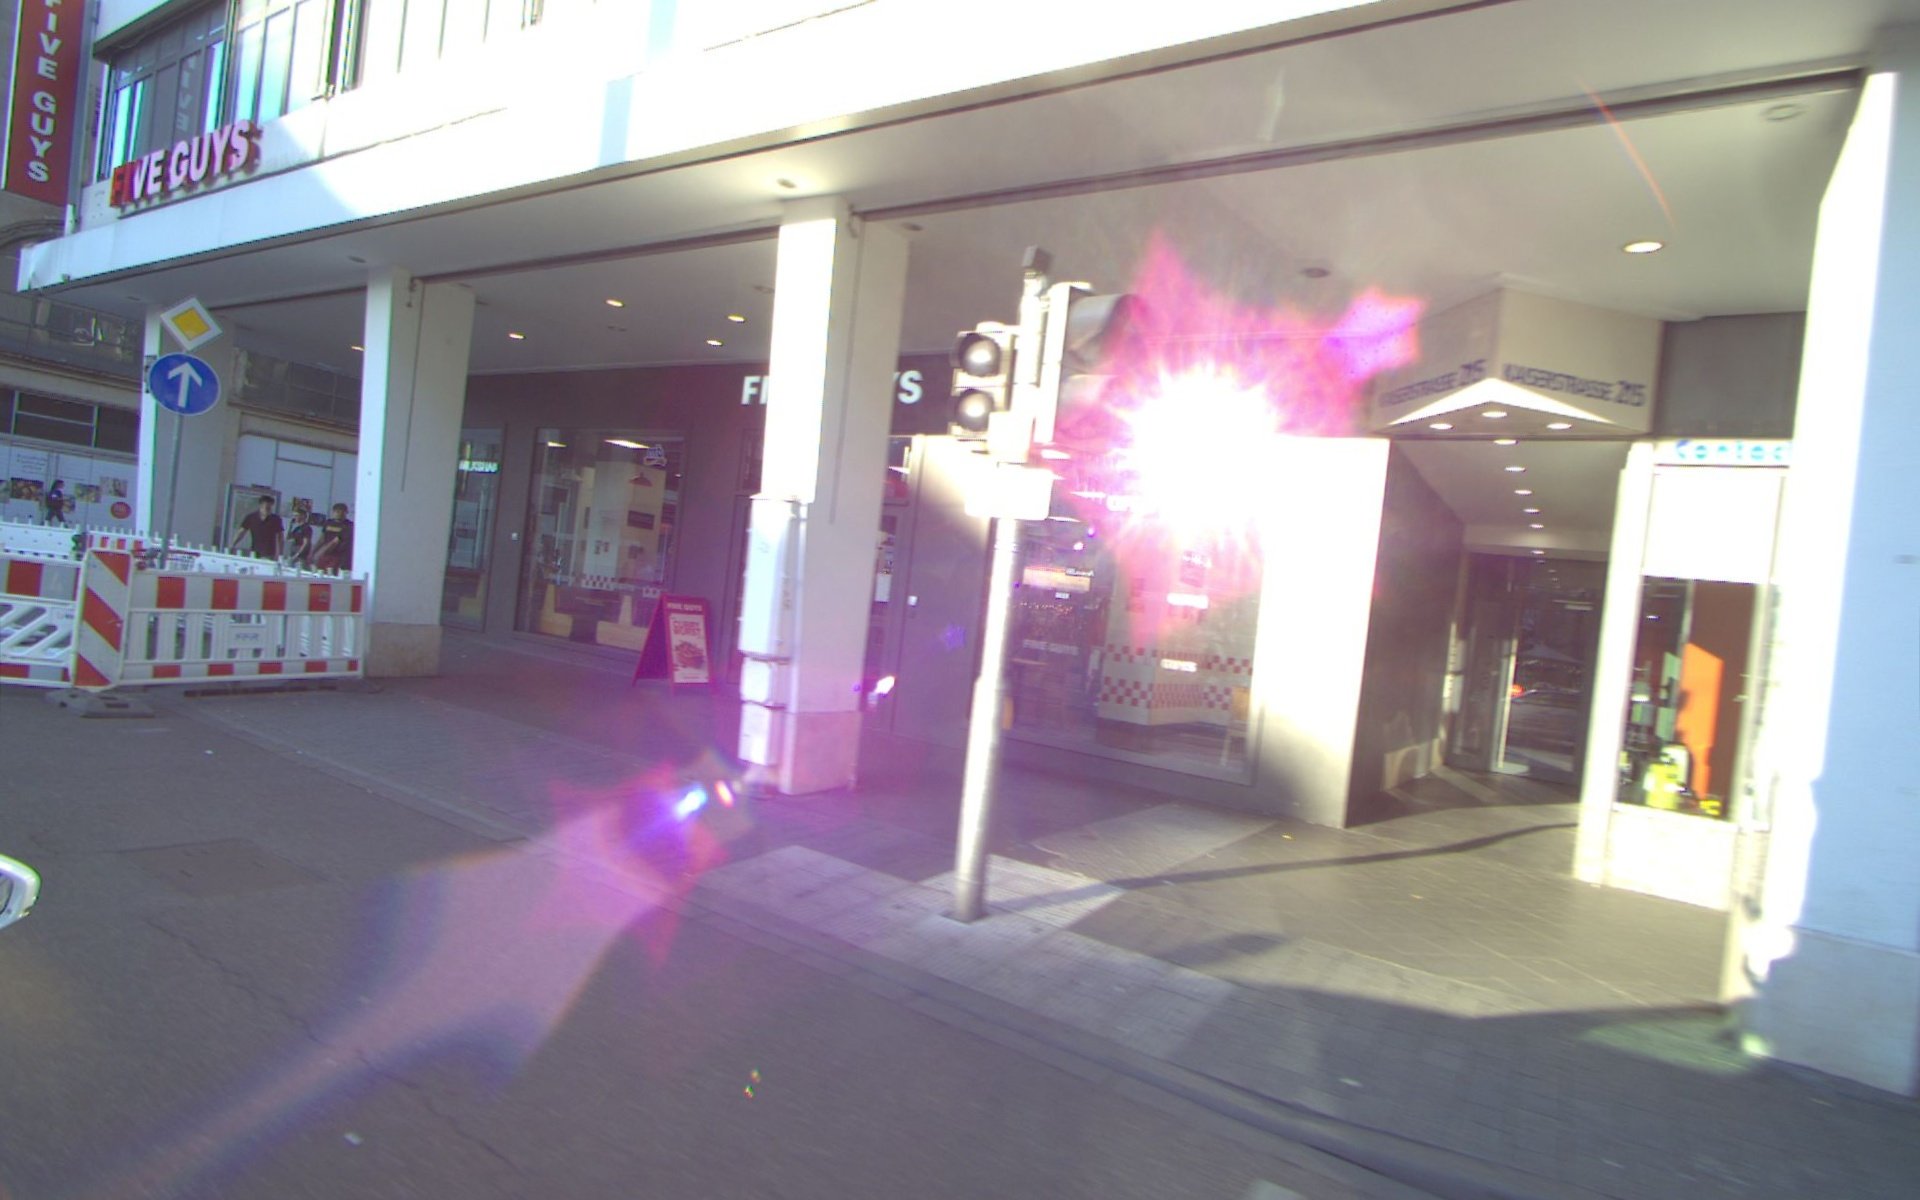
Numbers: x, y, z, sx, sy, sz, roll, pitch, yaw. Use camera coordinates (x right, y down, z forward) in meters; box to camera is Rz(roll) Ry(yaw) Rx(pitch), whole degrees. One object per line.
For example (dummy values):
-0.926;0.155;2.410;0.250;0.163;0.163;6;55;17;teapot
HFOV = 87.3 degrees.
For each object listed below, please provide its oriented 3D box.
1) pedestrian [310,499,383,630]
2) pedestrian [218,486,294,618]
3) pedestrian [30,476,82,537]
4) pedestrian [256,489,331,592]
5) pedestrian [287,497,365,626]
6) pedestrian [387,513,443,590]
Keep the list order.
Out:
-10.100;-0.569;16.577;0.697;2.037;0.470;7;0;-16;pedestrian
-11.494;-0.763;16.442;0.697;2.037;0.470;7;0;-16;pedestrian
-26.312;-2.712;29.288;0.701;1.630;0.821;7;-1;32;pedestrian
-12.434;-1.102;18.781;0.658;1.790;0.724;7;-1;19;pedestrian
-10.683;-0.636;16.973;0.769;2.037;0.516;7;0;-16;pedestrian
-13.443;-1.181;24.813;0.701;1.755;0.777;7;-1;32;pedestrian
